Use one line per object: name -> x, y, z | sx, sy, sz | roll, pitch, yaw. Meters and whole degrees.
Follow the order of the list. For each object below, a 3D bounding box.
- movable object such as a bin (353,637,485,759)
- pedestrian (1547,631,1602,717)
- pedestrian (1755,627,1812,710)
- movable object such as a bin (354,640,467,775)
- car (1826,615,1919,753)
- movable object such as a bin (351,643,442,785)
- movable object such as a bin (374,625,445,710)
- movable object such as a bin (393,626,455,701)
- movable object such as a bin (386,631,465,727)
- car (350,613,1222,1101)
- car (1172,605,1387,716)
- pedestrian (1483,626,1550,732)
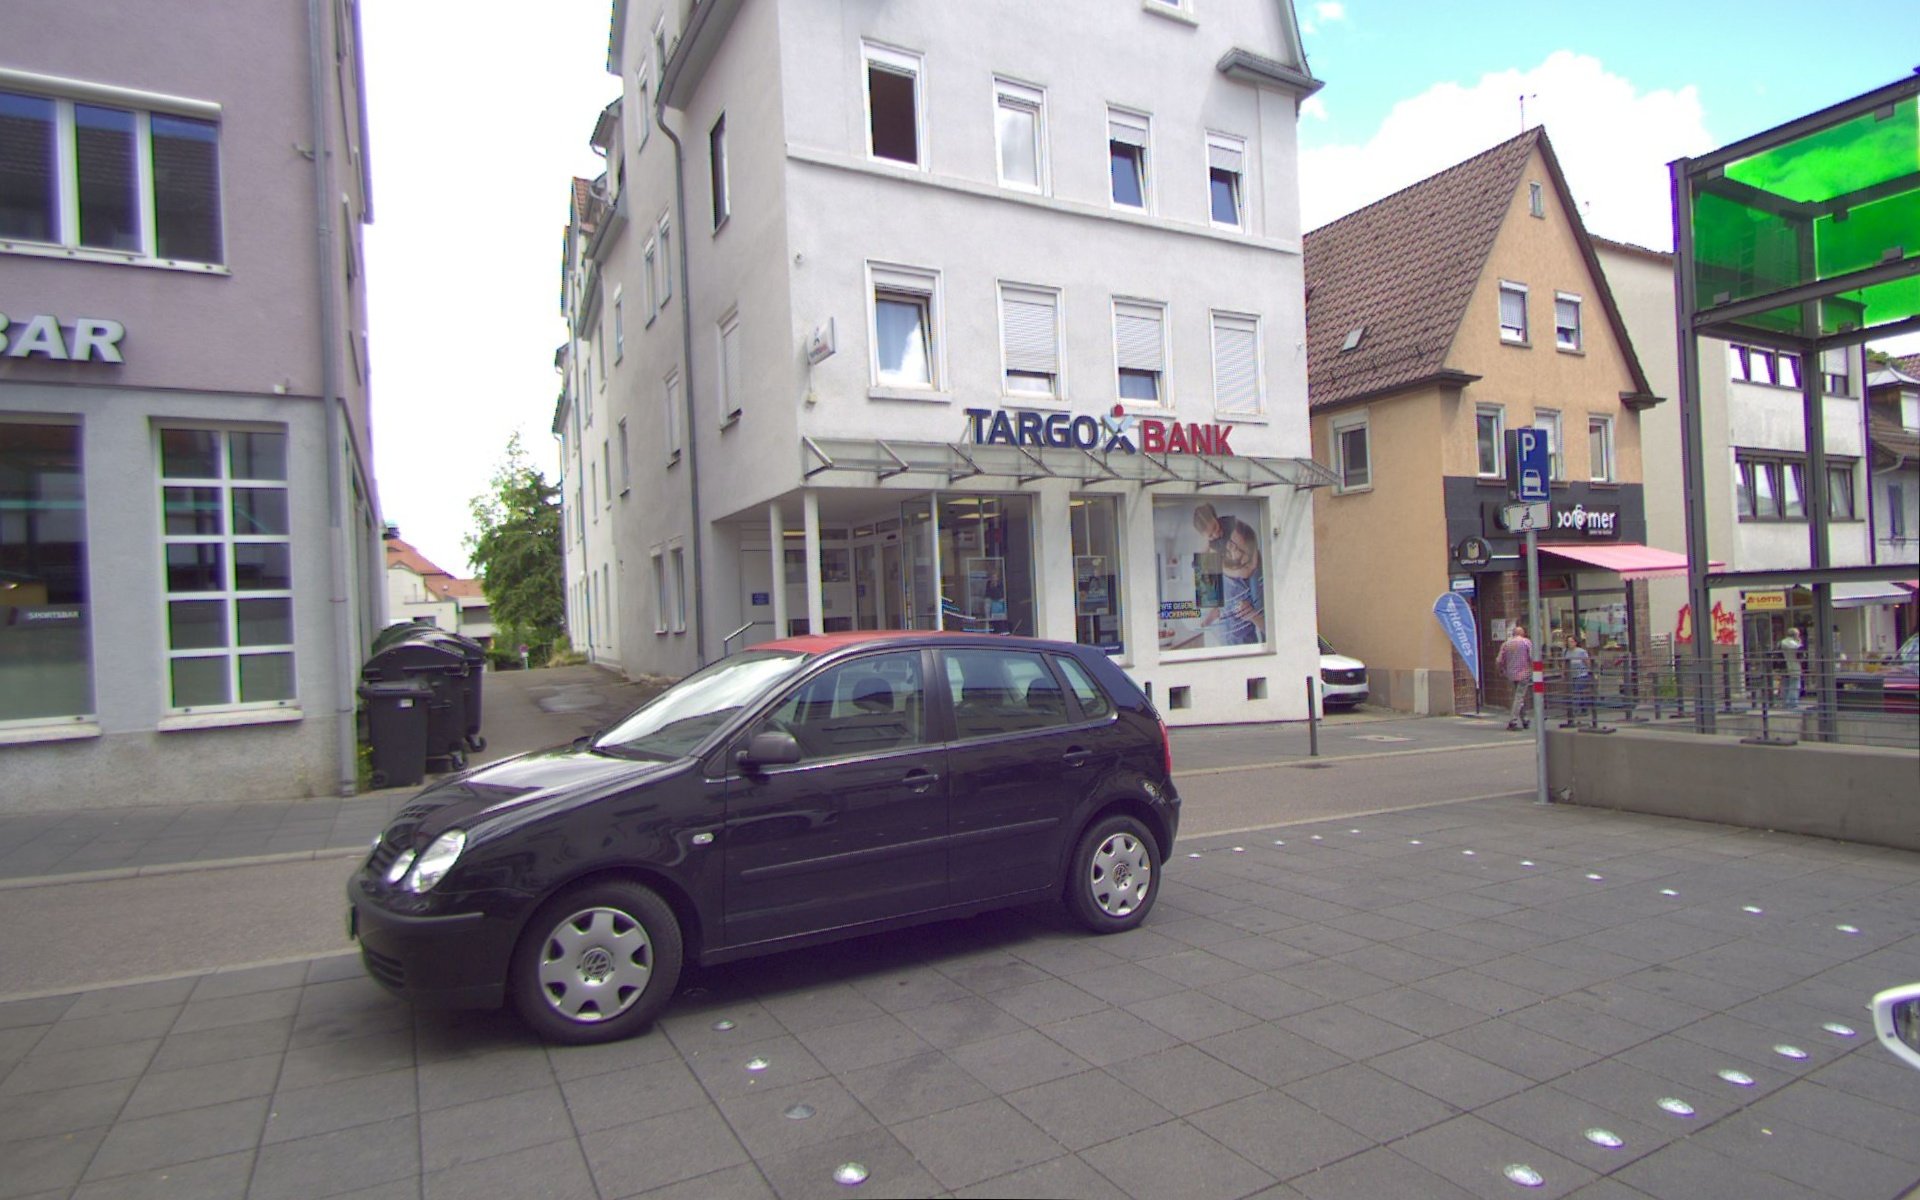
movable object such as a bin -> -6.792, 1.177, 12.632 | 1.390, 1.394, 1.277 | 1, -1, -30
pedestrian -> 11.686, 1.392, 19.106 | 0.708, 1.594, 0.562 | 1, -3, -30
pedestrian -> 17.184, 1.416, 20.966 | 0.653, 1.711, 0.646 | -1, -1, 10
movable object such as a bin -> -6.262, 1.172, 11.461 | 1.055, 1.394, 1.277 | 1, -1, -30
car -> 12.802, 1.011, 12.571 | 4.144, 1.563, 1.730 | 1, 0, -30
movable object such as a bin -> -5.901, 1.164, 10.534 | 0.798, 1.394, 0.686 | 1, -1, -30
movable object such as a bin -> -9.463, 1.128, 17.267 | 1.031, 1.394, 1.277 | 1, -1, -30
movable object such as a bin -> -10.483, 1.209, 19.641 | 1.031, 1.394, 1.277 | 1, -1, -30
movable object such as a bin -> -8.287, 1.190, 15.564 | 1.031, 1.394, 1.277 | 1, -1, -30
car -> -0.664, 0.866, 4.817 | 3.815, 1.494, 1.560 | 1, -3, -33
car -> 6.495, 1.149, 20.856 | 1.860, 1.898, 4.053 | 1, 1, -28
pedestrian -> 9.297, 1.301, 16.786 | 0.816, 1.711, 0.637 | 1, -1, -26
